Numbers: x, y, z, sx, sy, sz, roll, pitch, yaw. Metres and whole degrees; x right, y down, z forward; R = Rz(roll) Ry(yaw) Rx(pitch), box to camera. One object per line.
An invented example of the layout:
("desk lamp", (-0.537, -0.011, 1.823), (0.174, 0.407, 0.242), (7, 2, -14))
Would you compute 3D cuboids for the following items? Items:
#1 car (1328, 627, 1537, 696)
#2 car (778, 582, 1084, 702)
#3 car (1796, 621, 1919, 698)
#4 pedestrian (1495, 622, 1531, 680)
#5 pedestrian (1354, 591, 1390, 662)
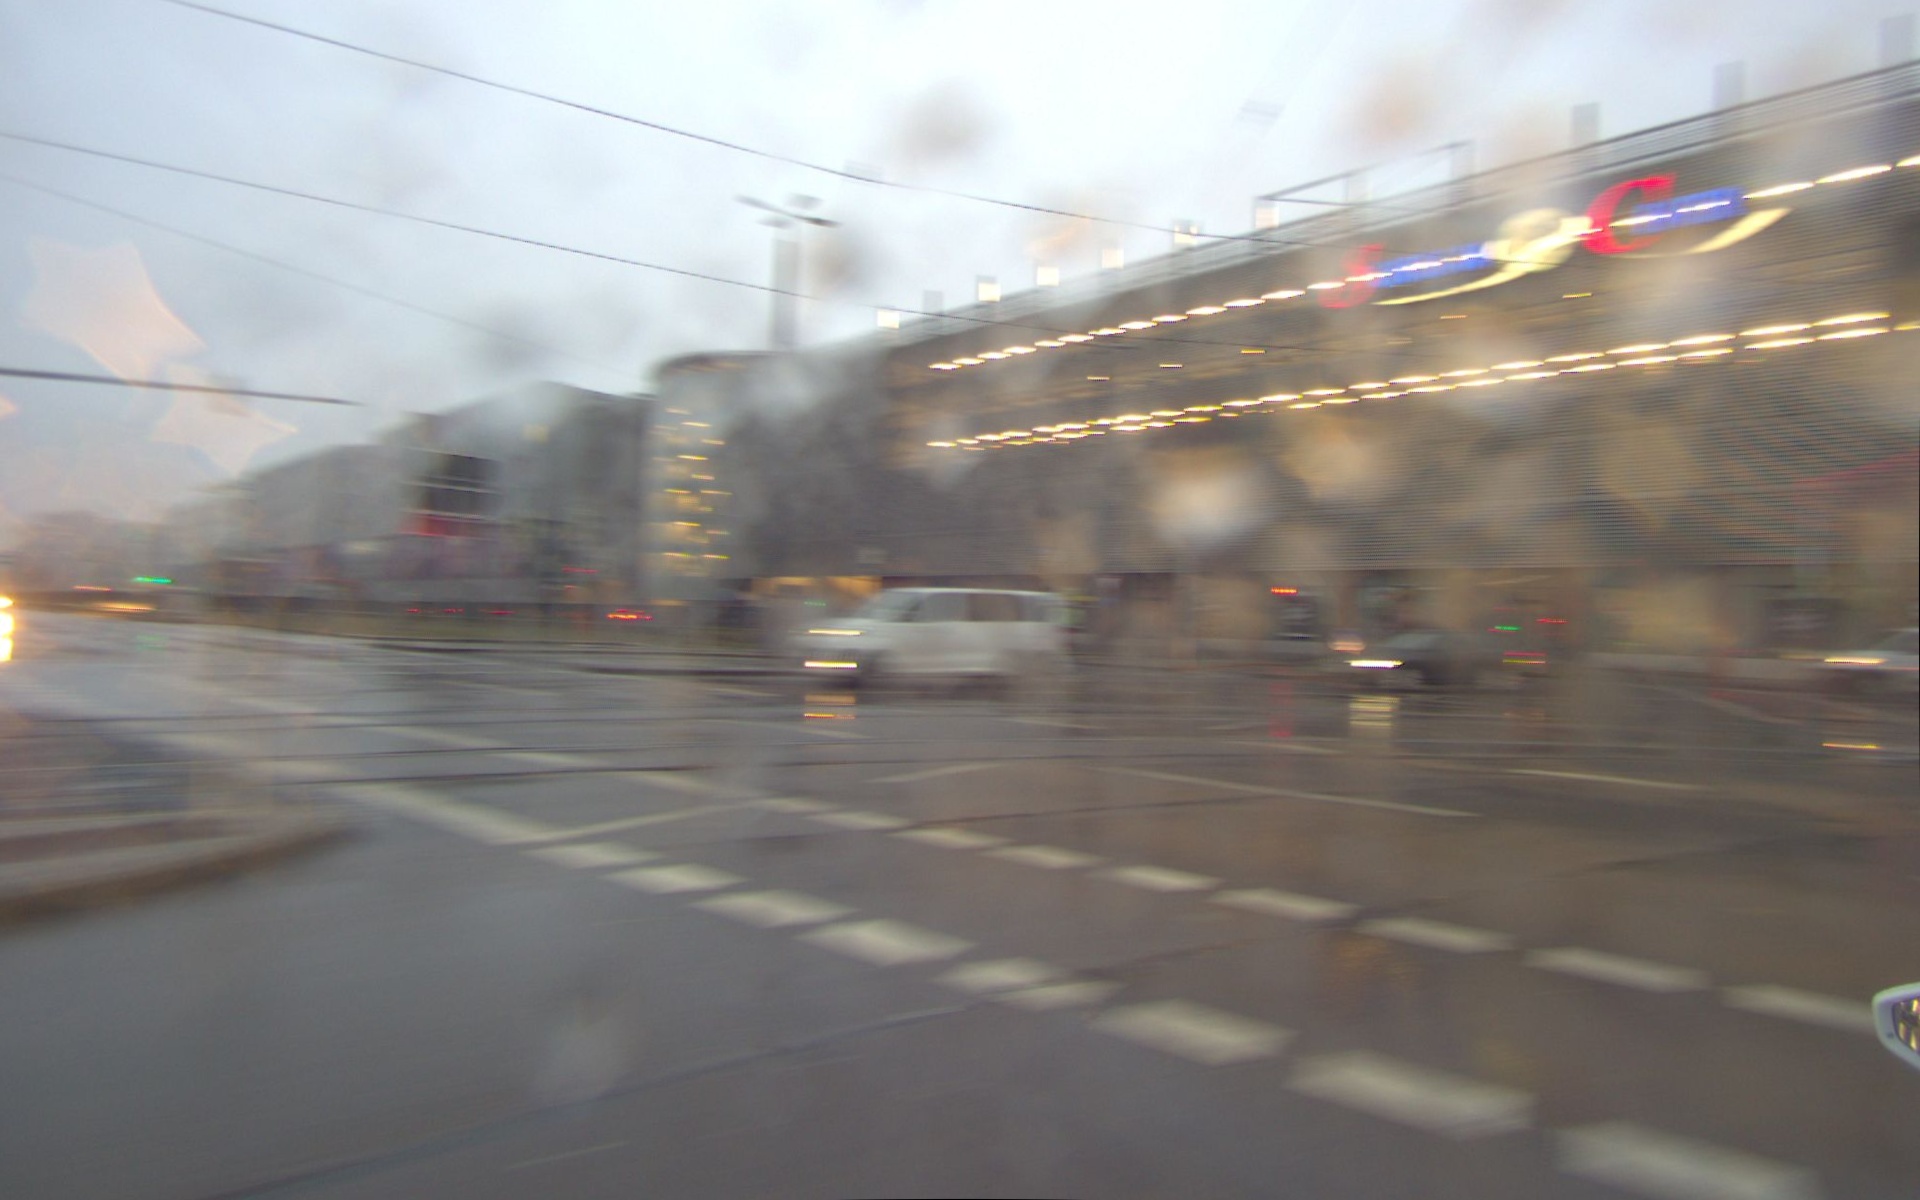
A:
("car", (11.050, 1.433, 23.557), (4.346, 1.464, 1.626), (2, -1, -12))
("car", (-0.535, 0.845, 19.460), (5.577, 2.086, 1.944), (2, -1, -21))
("car", (23.341, 1.450, 24.166), (4.518, 1.742, 1.930), (1, -1, 19))
("pedestrian", (24.391, 2.238, 44.296), (1.098, 2.471, 0.960), (3, -1, 44))
("pedestrian", (17.814, 1.148, 43.418), (0.952, 2.963, 1.107), (3, -1, 44))
